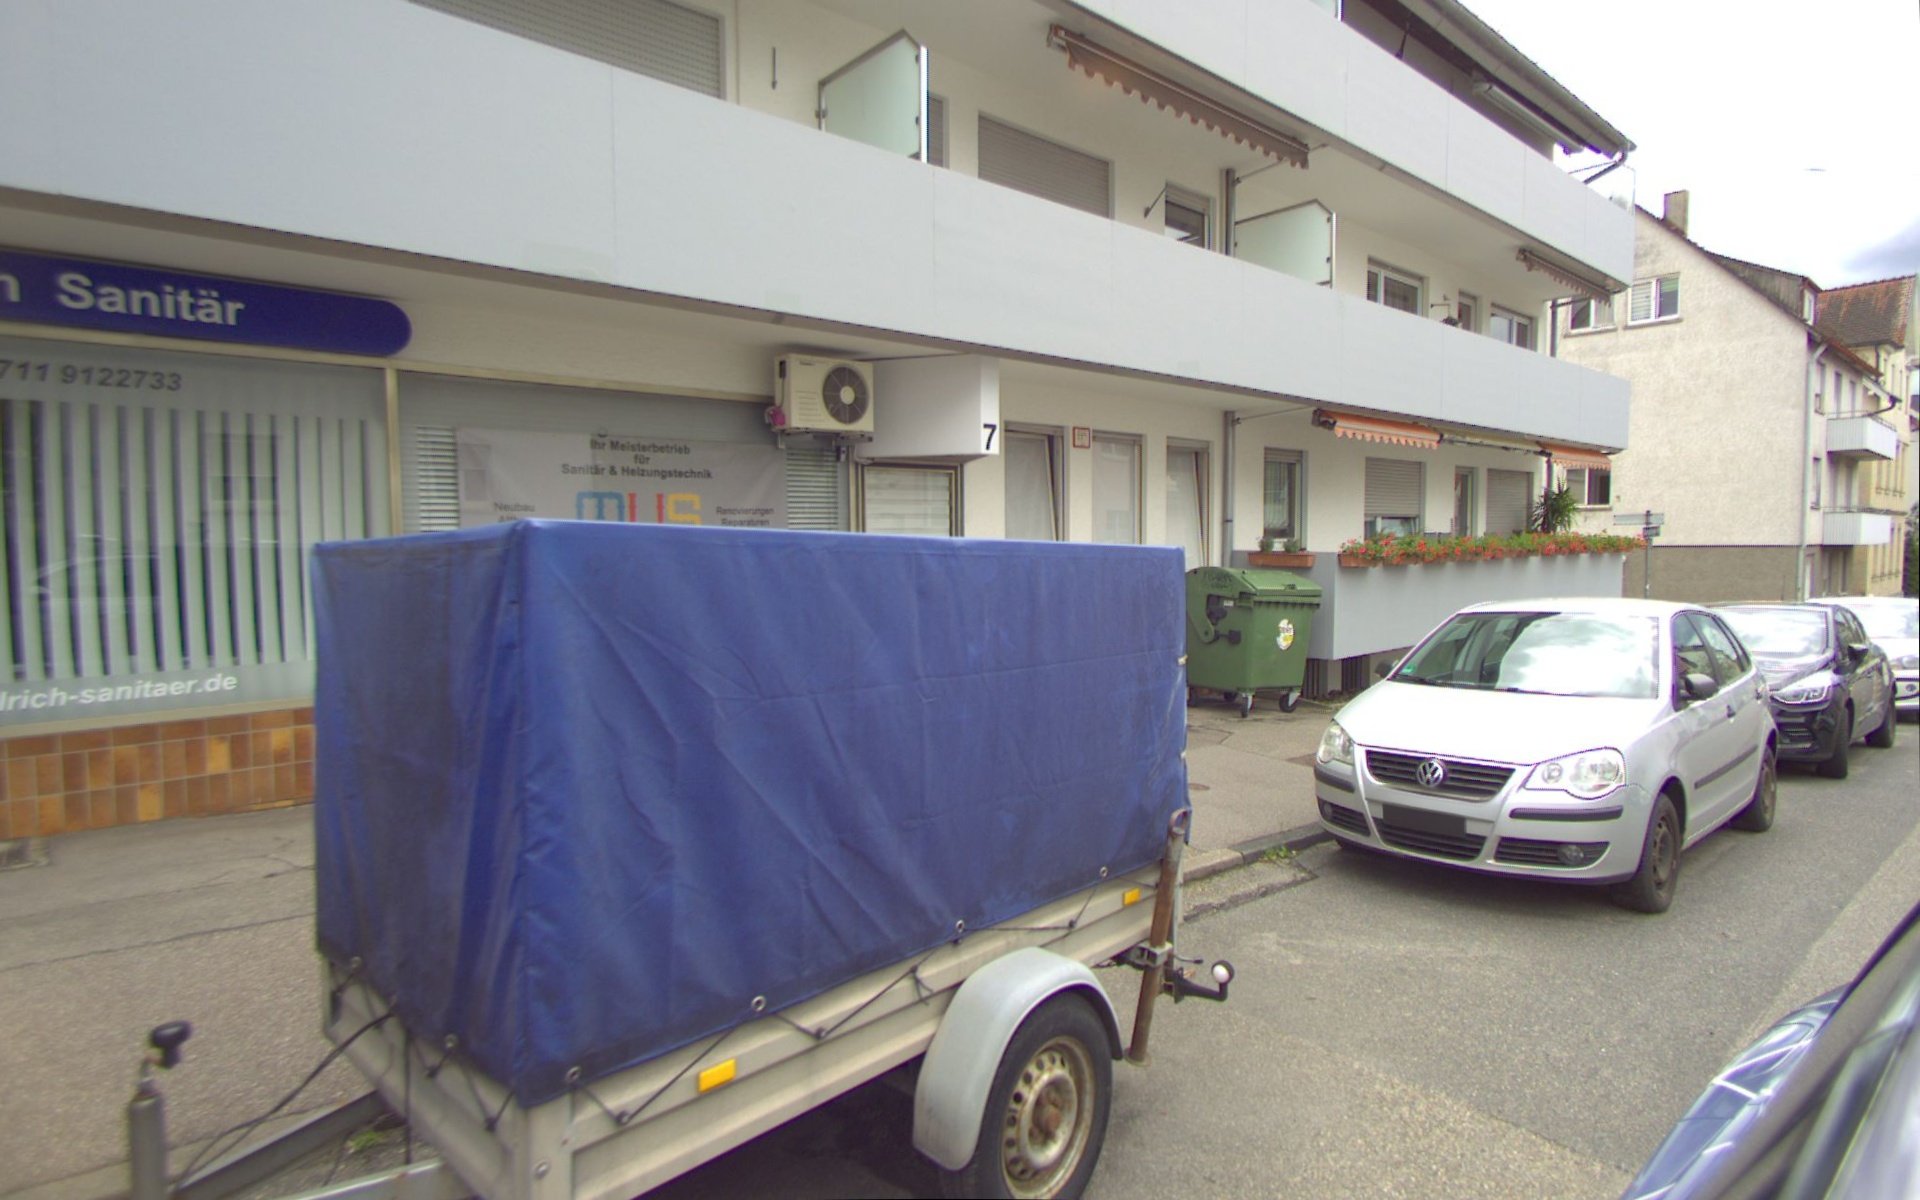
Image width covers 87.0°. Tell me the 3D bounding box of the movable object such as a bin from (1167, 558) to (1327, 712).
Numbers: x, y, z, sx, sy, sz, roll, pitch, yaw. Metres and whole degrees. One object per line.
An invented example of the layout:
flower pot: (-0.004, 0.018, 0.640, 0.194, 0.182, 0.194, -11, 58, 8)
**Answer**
movable object such as a bin: (2.947, 0.320, 10.403, 1.238, 1.455, 1.082, 0, 0, -41)

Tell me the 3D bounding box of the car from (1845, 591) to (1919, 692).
car: (14.971, 0.583, 15.600, 3.536, 1.423, 1.583, -1, 1, -41)

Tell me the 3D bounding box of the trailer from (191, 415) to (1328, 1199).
trailer: (-0.270, 0.541, 2.796, 1.422, 1.587, 2.790, 0, 1, 44)

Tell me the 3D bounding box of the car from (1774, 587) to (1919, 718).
car: (11.800, 0.579, 12.967, 3.256, 1.473, 1.612, -1, 1, -41)

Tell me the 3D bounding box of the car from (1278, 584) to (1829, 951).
car: (3.784, 0.642, 6.086, 4.259, 1.473, 1.612, -1, 1, -41)

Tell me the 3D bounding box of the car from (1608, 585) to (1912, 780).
car: (7.636, 0.596, 9.531, 3.793, 1.473, 1.612, -1, 1, -41)
